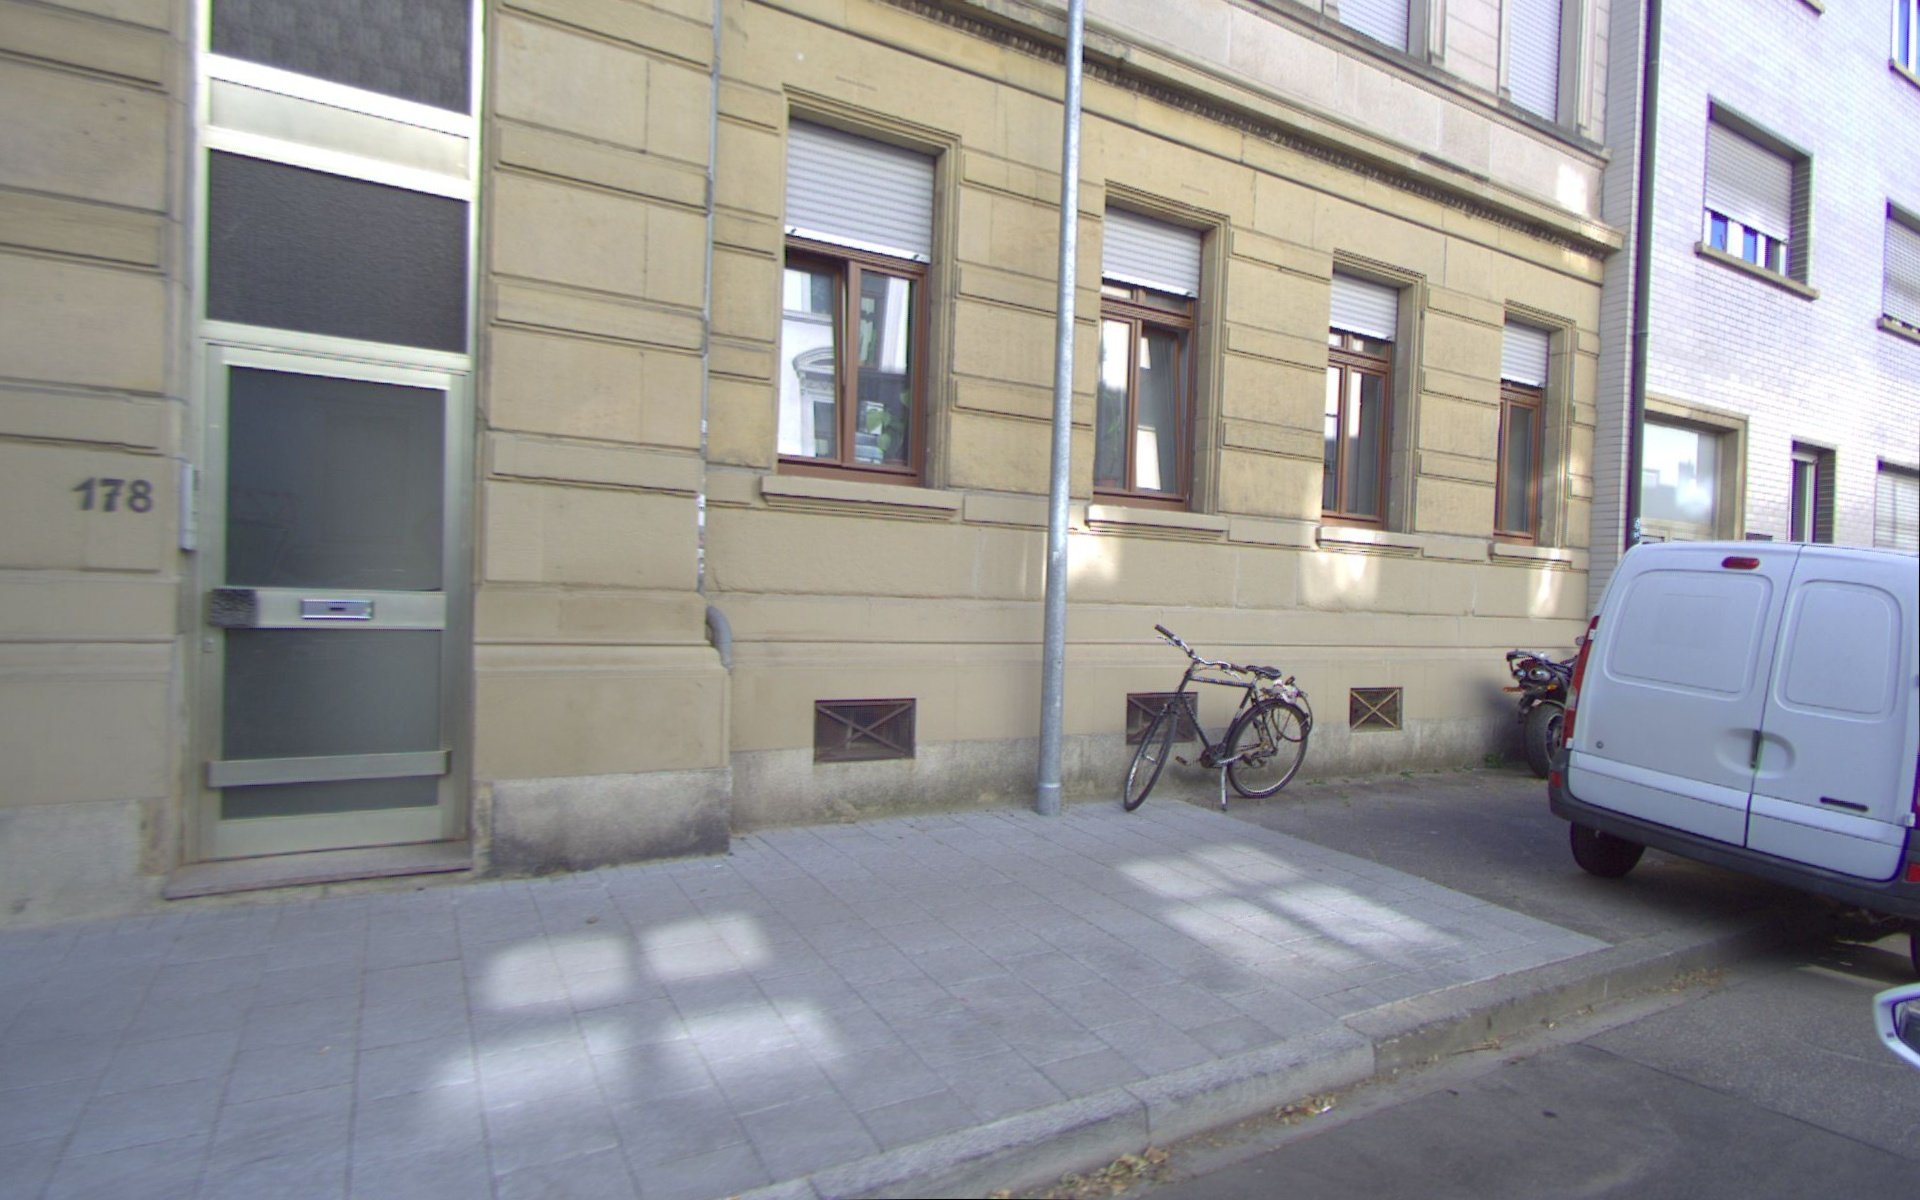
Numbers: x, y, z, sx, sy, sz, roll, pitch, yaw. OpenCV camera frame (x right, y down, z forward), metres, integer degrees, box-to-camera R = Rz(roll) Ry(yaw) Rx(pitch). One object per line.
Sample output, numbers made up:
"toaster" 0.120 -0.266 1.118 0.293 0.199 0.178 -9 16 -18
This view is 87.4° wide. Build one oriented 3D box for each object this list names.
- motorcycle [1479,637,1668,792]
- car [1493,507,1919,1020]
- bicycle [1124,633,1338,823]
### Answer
"motorcycle" 5.314 0.938 8.647 2.097 1.201 0.430 2 1 -31
"car" 4.970 0.588 5.393 4.041 1.902 1.736 1 4 -30
"bicycle" 1.827 0.811 6.702 1.491 1.140 0.430 2 1 -31
